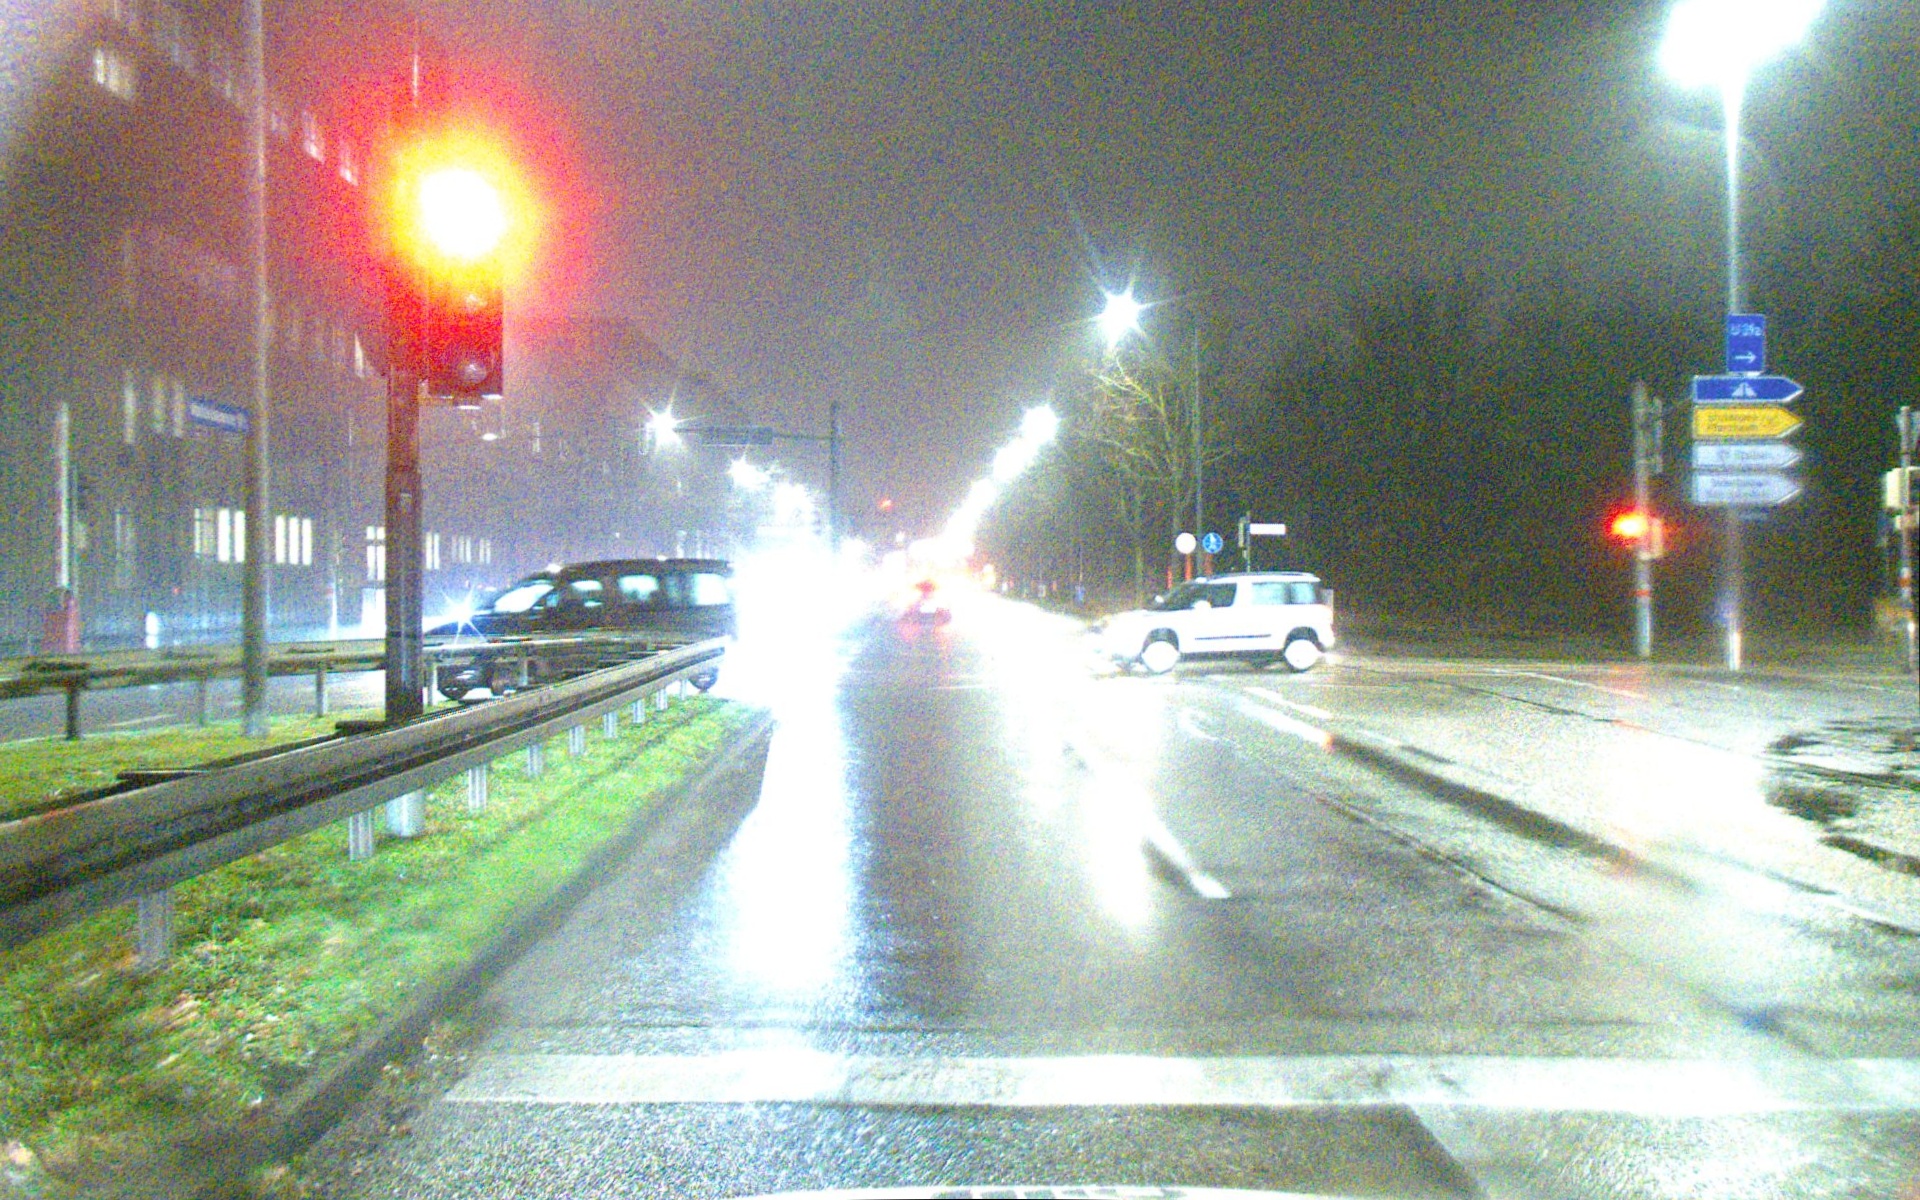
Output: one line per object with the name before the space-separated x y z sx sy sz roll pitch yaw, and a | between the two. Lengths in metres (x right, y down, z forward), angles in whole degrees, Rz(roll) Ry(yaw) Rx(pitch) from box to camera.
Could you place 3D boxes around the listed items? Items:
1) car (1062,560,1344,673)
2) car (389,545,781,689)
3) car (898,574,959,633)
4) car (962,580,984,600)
car | 4.057 0.291 27.850 4.308 1.771 1.903 1 0 -14
car | -5.045 0.246 22.627 4.866 1.771 1.945 1 0 -38
car | -1.196 0.120 60.780 1.954 2.049 4.628 1 0 -4
car | 1.237 -0.902 156.320 1.953 1.790 3.999 1 0 -1
